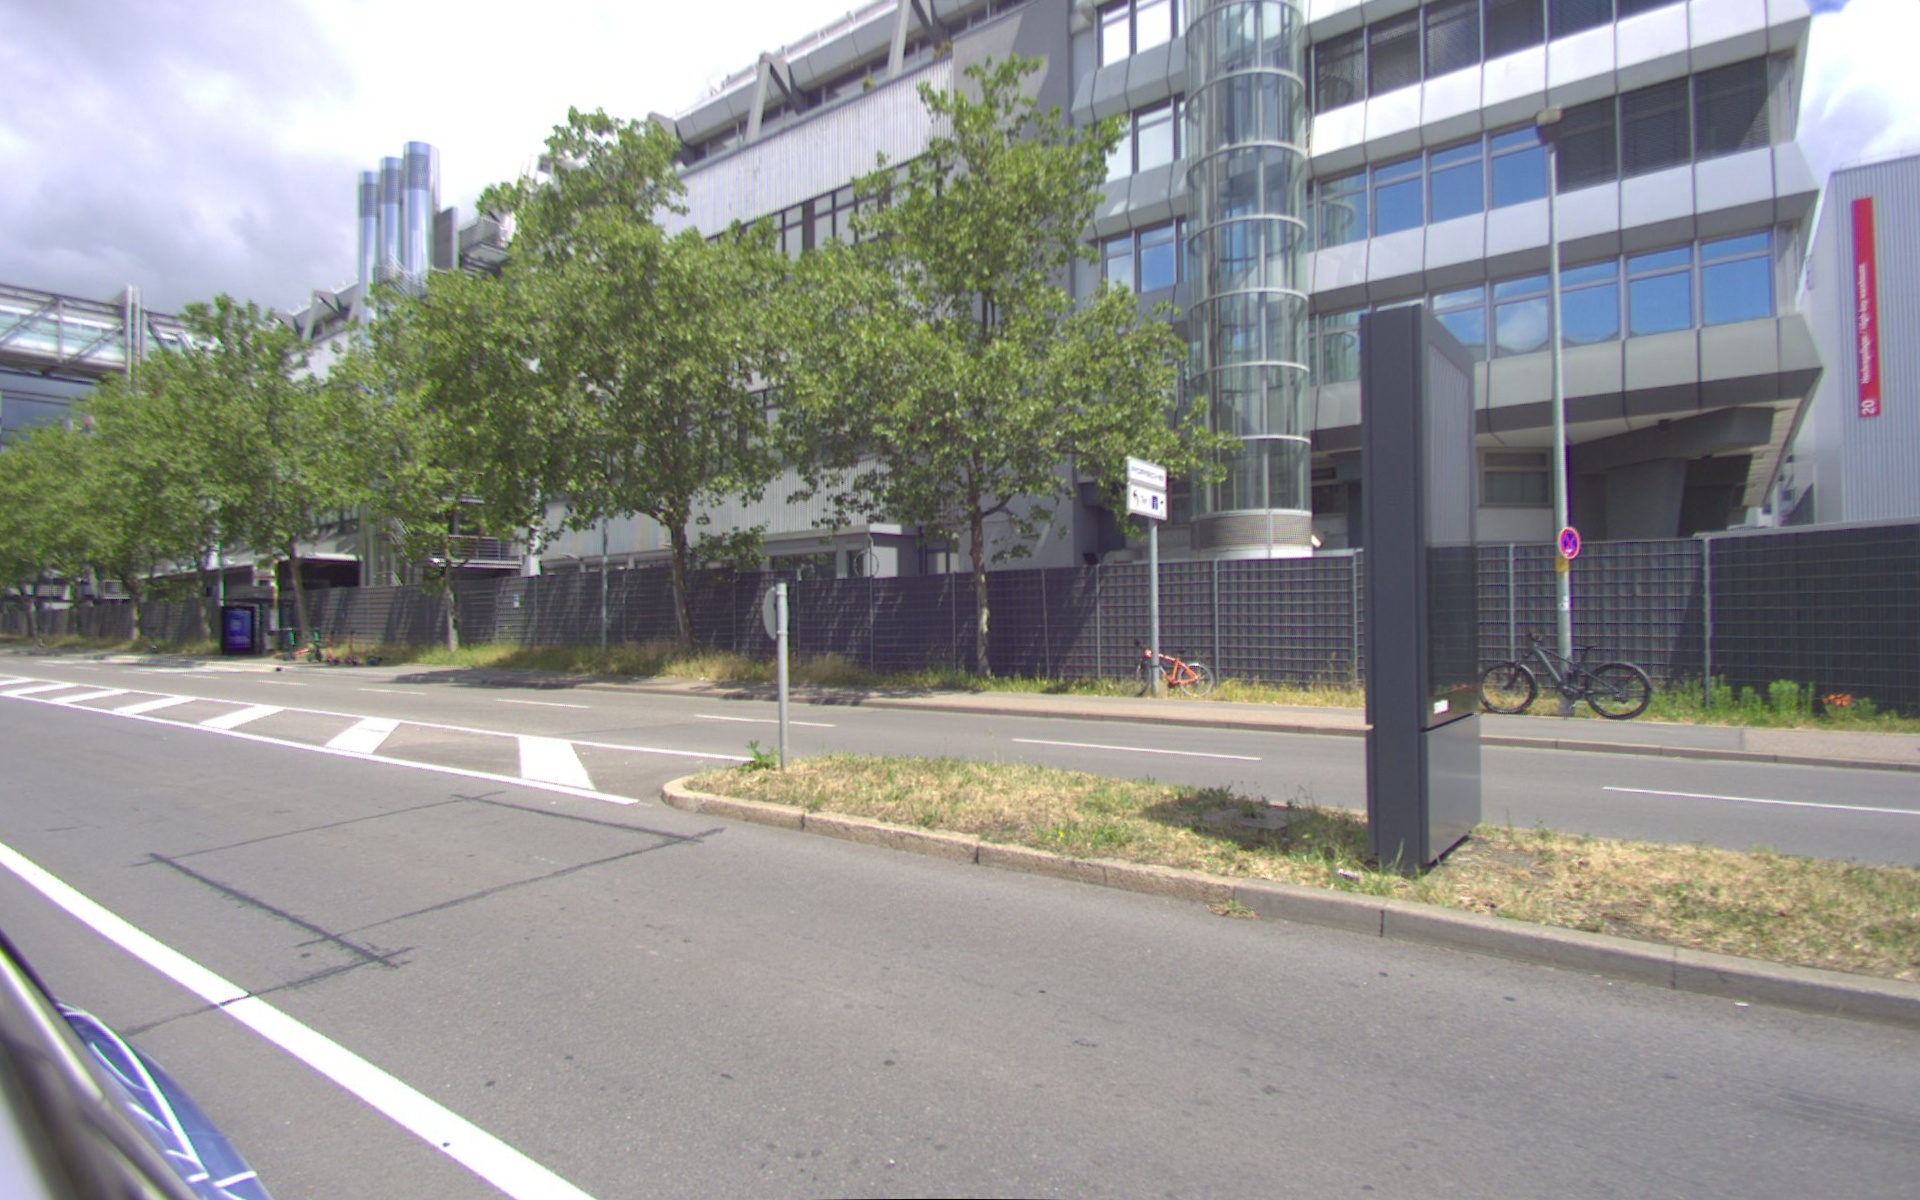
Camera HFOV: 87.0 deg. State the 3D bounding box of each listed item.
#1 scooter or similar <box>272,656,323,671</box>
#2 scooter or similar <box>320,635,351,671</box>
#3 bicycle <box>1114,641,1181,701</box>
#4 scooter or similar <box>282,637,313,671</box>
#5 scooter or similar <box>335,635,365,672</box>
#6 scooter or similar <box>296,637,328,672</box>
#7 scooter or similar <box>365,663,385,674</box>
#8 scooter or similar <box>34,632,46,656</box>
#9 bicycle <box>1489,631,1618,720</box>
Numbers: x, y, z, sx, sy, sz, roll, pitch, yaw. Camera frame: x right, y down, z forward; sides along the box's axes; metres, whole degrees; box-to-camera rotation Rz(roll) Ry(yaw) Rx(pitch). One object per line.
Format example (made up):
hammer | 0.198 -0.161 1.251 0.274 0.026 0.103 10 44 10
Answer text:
scooter or similar | -26.248 2.515 40.123 1.341 0.383 1.495 -3 1 -17
scooter or similar | -22.499 1.911 36.458 1.316 1.244 0.518 -3 1 39
bicycle | 3.355 1.256 18.215 0.293 1.013 1.253 -1 0 -42
scooter or similar | -25.406 2.061 38.789 1.315 1.244 0.518 -3 1 37
scooter or similar | -21.449 1.861 35.561 1.318 1.244 0.517 -2 1 44
scooter or similar | -24.219 2.027 37.832 1.315 1.244 0.518 -3 1 37
scooter or similar | -20.498 2.382 35.468 0.530 0.325 1.276 -1 -1 -28
scooter or similar | -56.247 2.691 61.877 1.233 1.414 0.300 -1 0 37
bicycle | 8.096 1.009 13.843 1.484 1.140 0.293 -1 0 41
